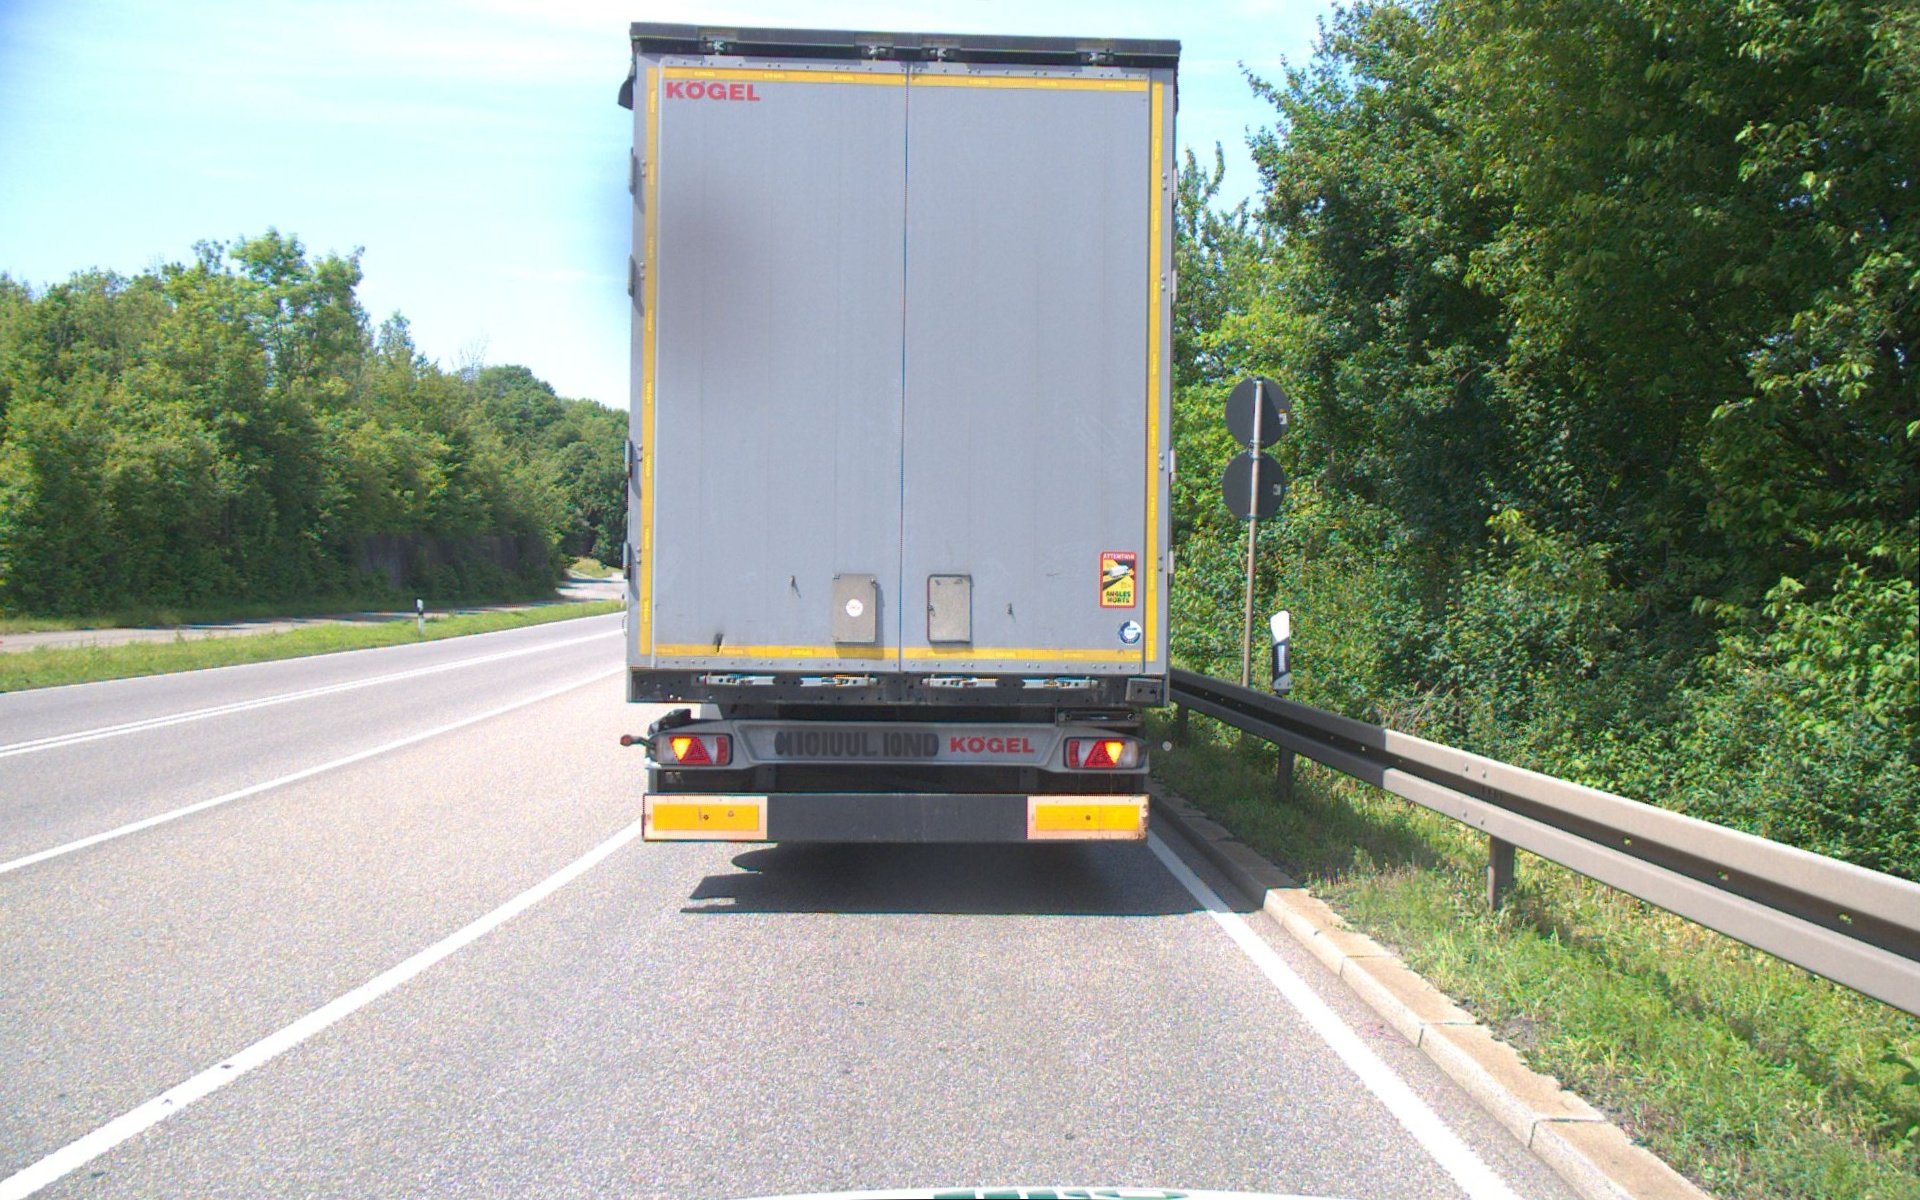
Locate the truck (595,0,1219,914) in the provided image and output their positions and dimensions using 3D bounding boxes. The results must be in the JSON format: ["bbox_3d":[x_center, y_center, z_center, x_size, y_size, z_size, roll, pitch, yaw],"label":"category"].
[{"bbox_3d":[-0.379,-0.722,13.228,2.701,4.100,11.920,1,0,-2],"label":"truck"}]
